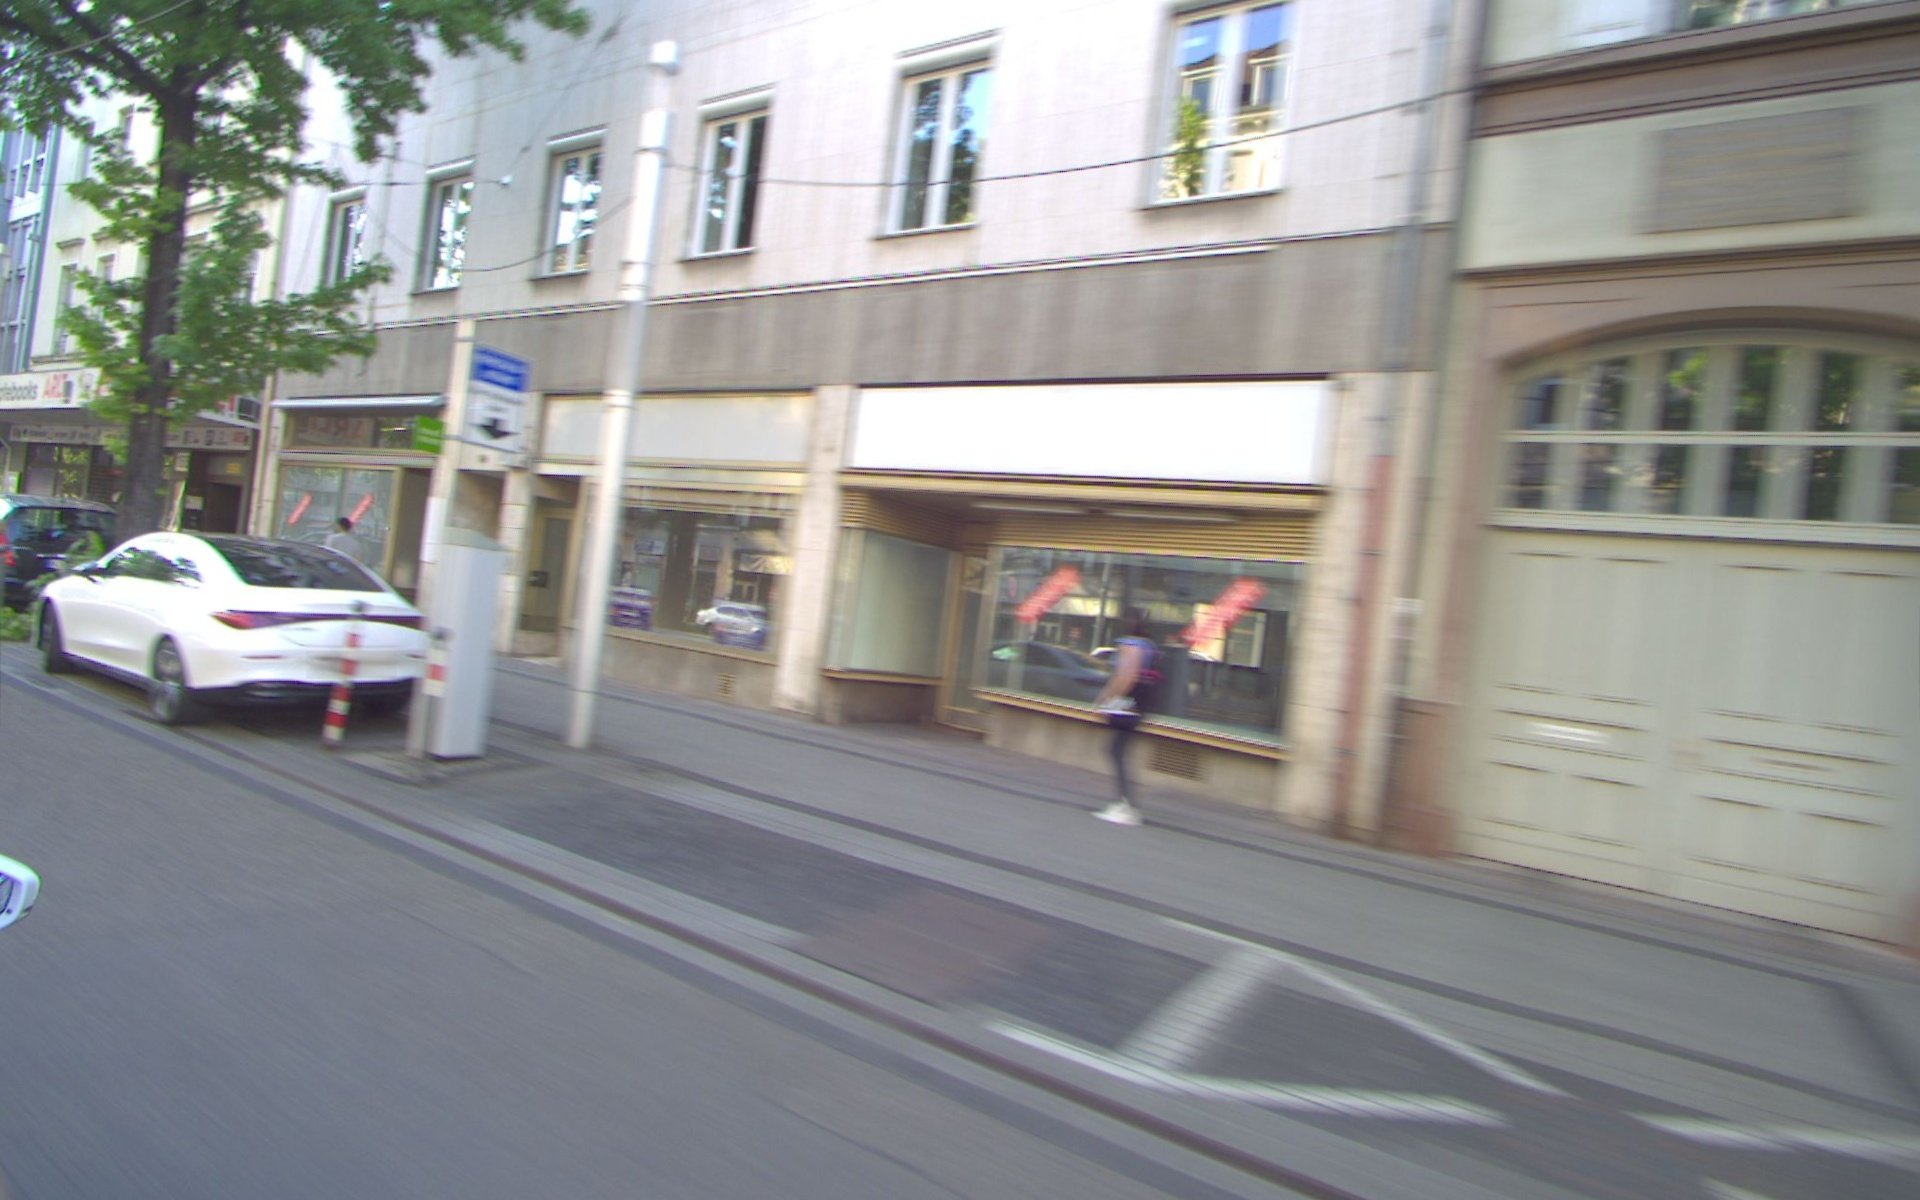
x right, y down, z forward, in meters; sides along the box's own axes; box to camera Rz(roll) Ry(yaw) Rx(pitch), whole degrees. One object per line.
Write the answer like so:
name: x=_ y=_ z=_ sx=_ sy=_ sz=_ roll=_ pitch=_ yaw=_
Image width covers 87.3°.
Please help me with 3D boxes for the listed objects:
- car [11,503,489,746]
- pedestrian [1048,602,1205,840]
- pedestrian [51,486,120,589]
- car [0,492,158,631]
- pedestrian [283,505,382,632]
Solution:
car: x=-6.627 y=0.093 z=9.238 sx=4.603 sy=1.518 sz=1.993 roll=7 pitch=2 yaw=33
pedestrian: x=1.319 y=0.915 z=7.943 sx=0.873 sy=1.687 sz=0.658 roll=7 pitch=2 yaw=32
pedestrian: x=-15.248 y=-1.087 z=17.539 sx=0.773 sy=1.692 sz=0.643 roll=7 pitch=3 yaw=32
car: x=-12.748 y=-0.611 z=13.593 sx=3.827 sy=1.612 sz=1.776 roll=7 pitch=2 yaw=32
pedestrian: x=-9.376 y=-0.461 z=15.036 sx=0.917 sy=1.776 sz=0.858 roll=7 pitch=3 yaw=32
